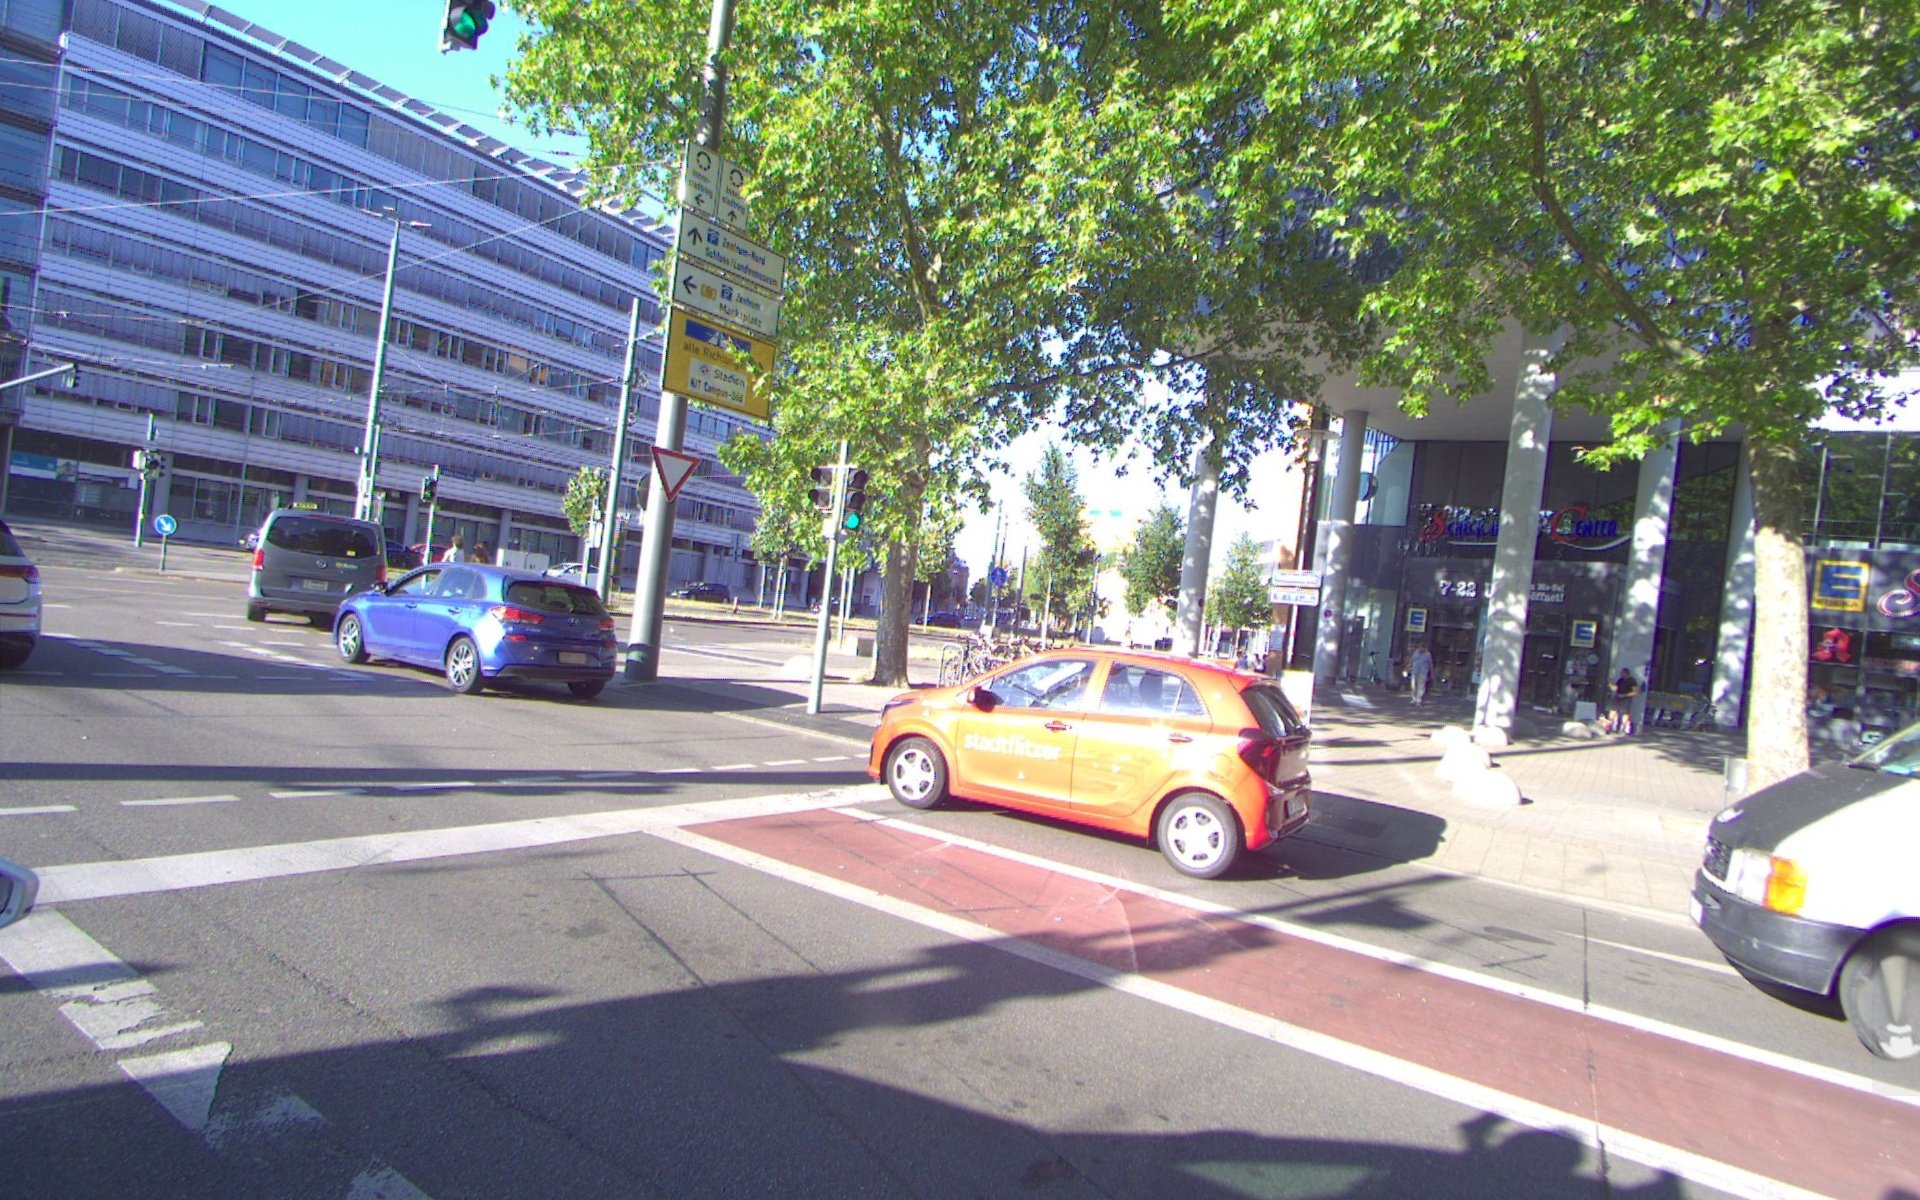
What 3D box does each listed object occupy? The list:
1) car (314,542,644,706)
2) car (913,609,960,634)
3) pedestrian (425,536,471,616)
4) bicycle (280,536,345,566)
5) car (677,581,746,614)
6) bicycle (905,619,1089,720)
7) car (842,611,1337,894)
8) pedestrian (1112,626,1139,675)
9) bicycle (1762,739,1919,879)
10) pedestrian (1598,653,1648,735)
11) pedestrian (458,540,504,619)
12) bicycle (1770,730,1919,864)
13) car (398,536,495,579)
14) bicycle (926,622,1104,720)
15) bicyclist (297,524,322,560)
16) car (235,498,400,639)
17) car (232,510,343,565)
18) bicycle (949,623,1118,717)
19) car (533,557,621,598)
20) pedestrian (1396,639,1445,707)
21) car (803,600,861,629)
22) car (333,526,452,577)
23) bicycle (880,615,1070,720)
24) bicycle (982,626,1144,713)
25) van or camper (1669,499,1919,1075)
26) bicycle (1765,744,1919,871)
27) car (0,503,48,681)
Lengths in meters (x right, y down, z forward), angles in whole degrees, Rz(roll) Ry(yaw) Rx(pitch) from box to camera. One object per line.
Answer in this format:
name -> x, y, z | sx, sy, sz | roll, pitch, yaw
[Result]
car -> -6.103, 0.264, 12.615 | 4.144, 1.476, 1.750 | 7, -1, 34
car -> -2.000, 1.841, 86.162 | 1.852, 1.614, 4.121 | 6, -2, 35
pedestrian -> -12.051, -0.577, 23.685 | 0.674, 1.781, 0.734 | 6, 1, -38
bicycle -> -29.938, -2.260, 46.545 | 0.627, 1.035, 2.410 | 7, 0, 36
car -> -16.299, -0.137, 66.136 | 1.852, 1.614, 4.121 | 6, -2, 35
bicycle -> 0.557, 1.101, 16.322 | 2.896, 1.243, 0.686 | 6, -1, 31
car -> 0.979, 1.077, 8.137 | 3.537, 1.476, 1.493 | 7, -1, 31
pedestrian -> 5.797, 1.780, 35.282 | 0.569, 1.612, 0.595 | 7, 0, 32
bicycle -> 11.189, 2.542, 10.891 | 3.757, 1.235, 0.727 | 10, 1, 38
pedestrian -> 17.647, 2.515, 26.760 | 0.847, 2.037, 1.021 | 6, -1, 38
pedestrian -> -11.494, -0.494, 24.139 | 0.680, 1.781, 0.734 | 6, 1, -38
bicycle -> 10.890, 2.243, 10.436 | 3.759, 1.234, 0.756 | 5, -2, 38
car -> -26.395, -2.168, 51.811 | 1.769, 1.569, 3.990 | 6, -2, 36
bicycle -> 0.894, 1.173, 16.970 | 2.897, 1.252, 0.705 | 6, -1, 32
bicyclist -> -29.990, -2.673, 46.391 | 0.604, 1.521, 0.663 | 7, 1, 37
car -> -11.255, -0.581, 17.811 | 1.987, 1.919, 4.843 | 8, -1, -31
car -> -33.554, -3.090, 50.288 | 1.967, 2.037, 3.995 | 6, -2, 32
bicycle -> 1.248, 1.185, 17.677 | 2.896, 1.255, 0.695 | 6, 4, 31
car -> -20.873, -1.221, 54.977 | 1.852, 1.614, 3.991 | 6, -2, 35
pedestrian -> 13.784, 2.184, 30.141 | 0.800, 1.913, 0.871 | 5, 1, -16
car -> -9.502, 1.119, 74.868 | 1.852, 1.614, 4.121 | 6, -2, 35
car -> -25.853, -2.190, 45.954 | 1.854, 1.744, 4.256 | 7, 0, 34
bicycle -> 0.191, 1.025, 15.717 | 2.896, 1.252, 0.705 | 6, -1, 31
bicycle -> 1.905, 1.272, 18.960 | 2.896, 1.253, 0.704 | 6, 1, 31
van or camper -> 7.127, 1.199, 4.241 | 6.390, 2.647, 2.002 | 7, 0, 32
bicycle -> 11.677, 2.552, 11.486 | 3.758, 1.234, 0.792 | 5, -2, 36
car -> -9.764, -0.316, 8.722 | 3.936, 1.435, 1.750 | 7, -1, 34
